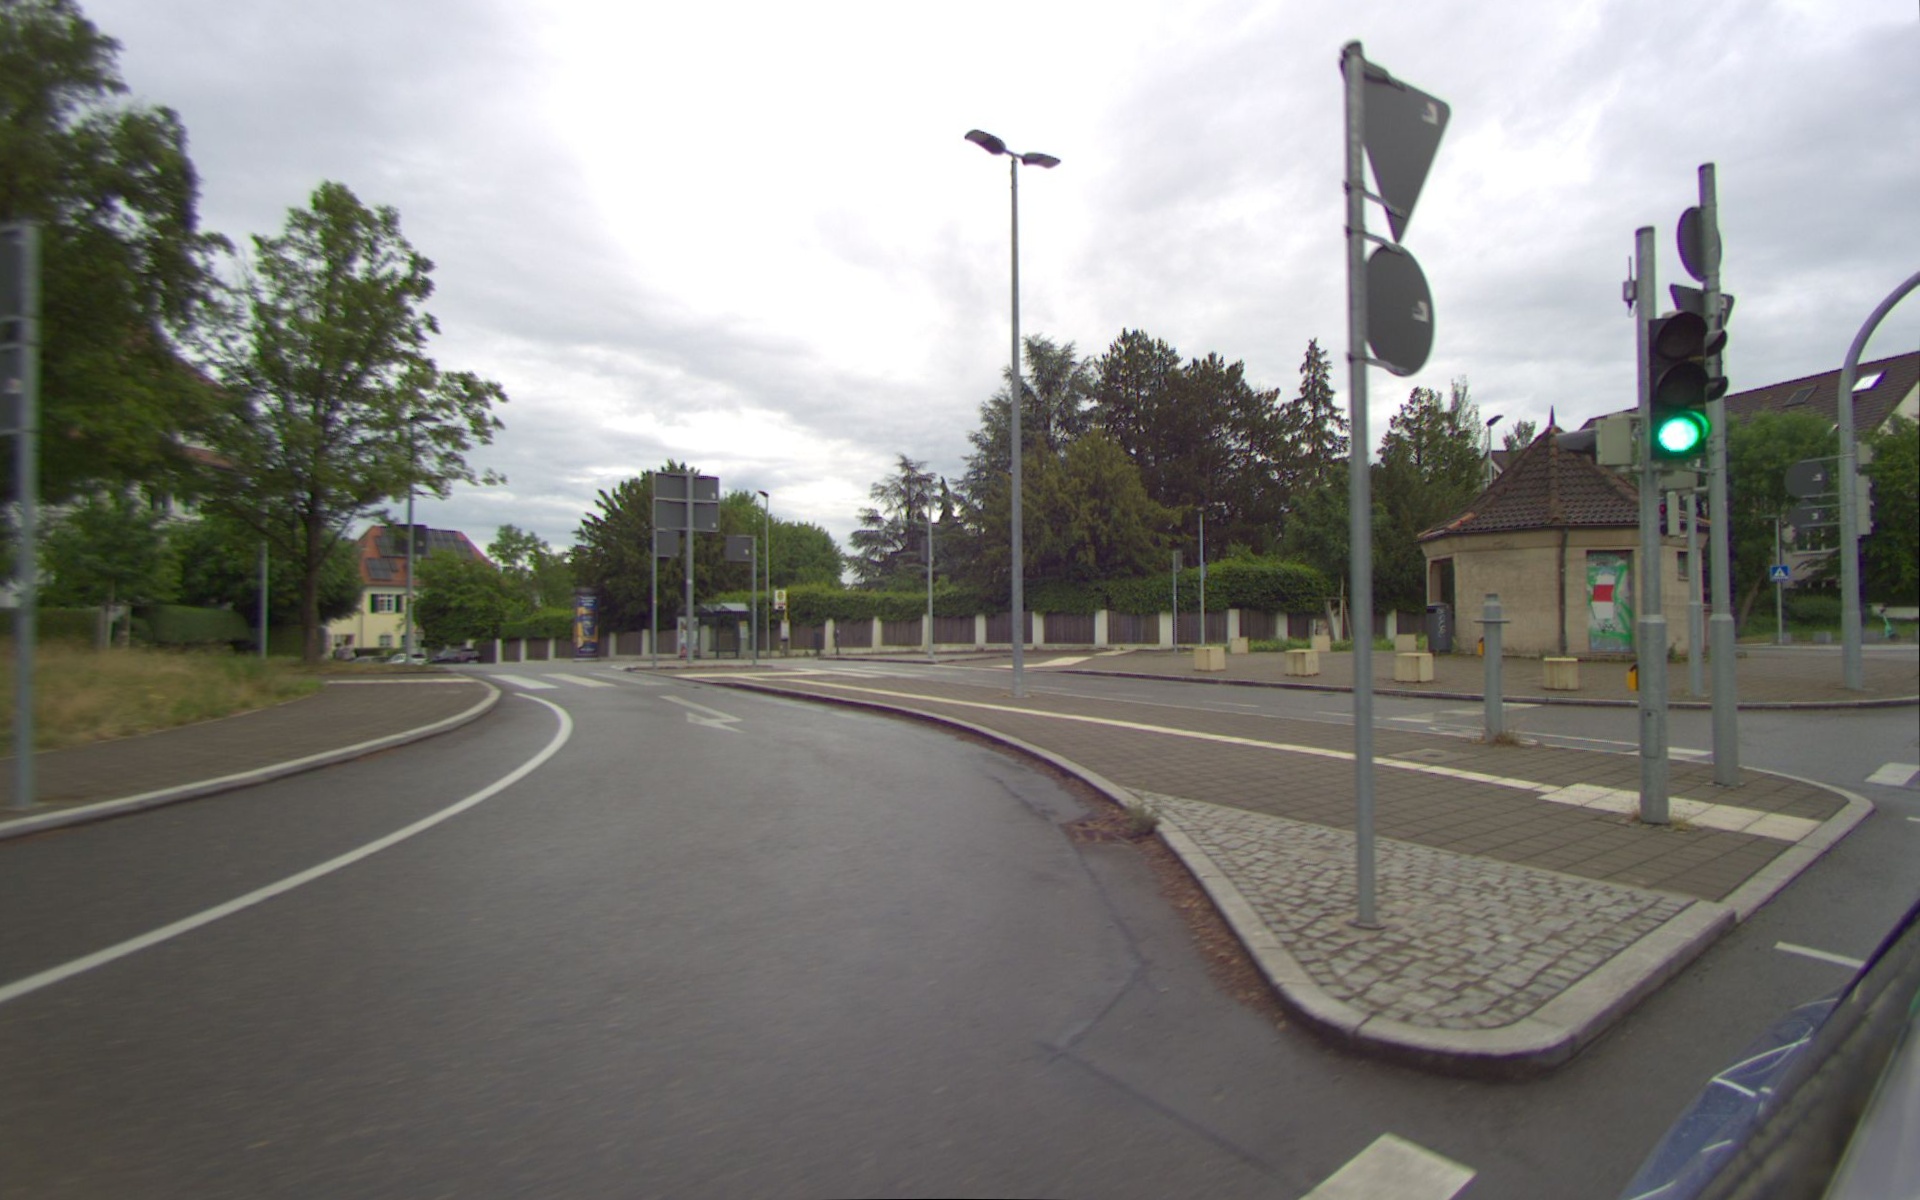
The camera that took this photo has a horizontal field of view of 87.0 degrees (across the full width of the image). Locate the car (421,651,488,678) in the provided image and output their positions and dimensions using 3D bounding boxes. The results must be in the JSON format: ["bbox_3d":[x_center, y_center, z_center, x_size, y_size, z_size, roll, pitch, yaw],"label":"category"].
[{"bbox_3d":[-31.098,3.978,62.272,3.970,1.499,1.976,-4,-2,33],"label":"car"}]

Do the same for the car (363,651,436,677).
[{"bbox_3d":[-37.156,4.276,67.009,5.421,1.499,1.976,-4,-2,33],"label":"car"}]

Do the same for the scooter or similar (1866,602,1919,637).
[{"bbox_3d":[34.773,0.732,37.680,0.514,1.223,1.354,-1,-4,-26],"label":"scooter or similar"}]

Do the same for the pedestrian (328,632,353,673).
[{"bbox_3d":[-29.273,2.469,47.837,0.692,1.861,0.809,-5,-4,43],"label":"pedestrian"}]
